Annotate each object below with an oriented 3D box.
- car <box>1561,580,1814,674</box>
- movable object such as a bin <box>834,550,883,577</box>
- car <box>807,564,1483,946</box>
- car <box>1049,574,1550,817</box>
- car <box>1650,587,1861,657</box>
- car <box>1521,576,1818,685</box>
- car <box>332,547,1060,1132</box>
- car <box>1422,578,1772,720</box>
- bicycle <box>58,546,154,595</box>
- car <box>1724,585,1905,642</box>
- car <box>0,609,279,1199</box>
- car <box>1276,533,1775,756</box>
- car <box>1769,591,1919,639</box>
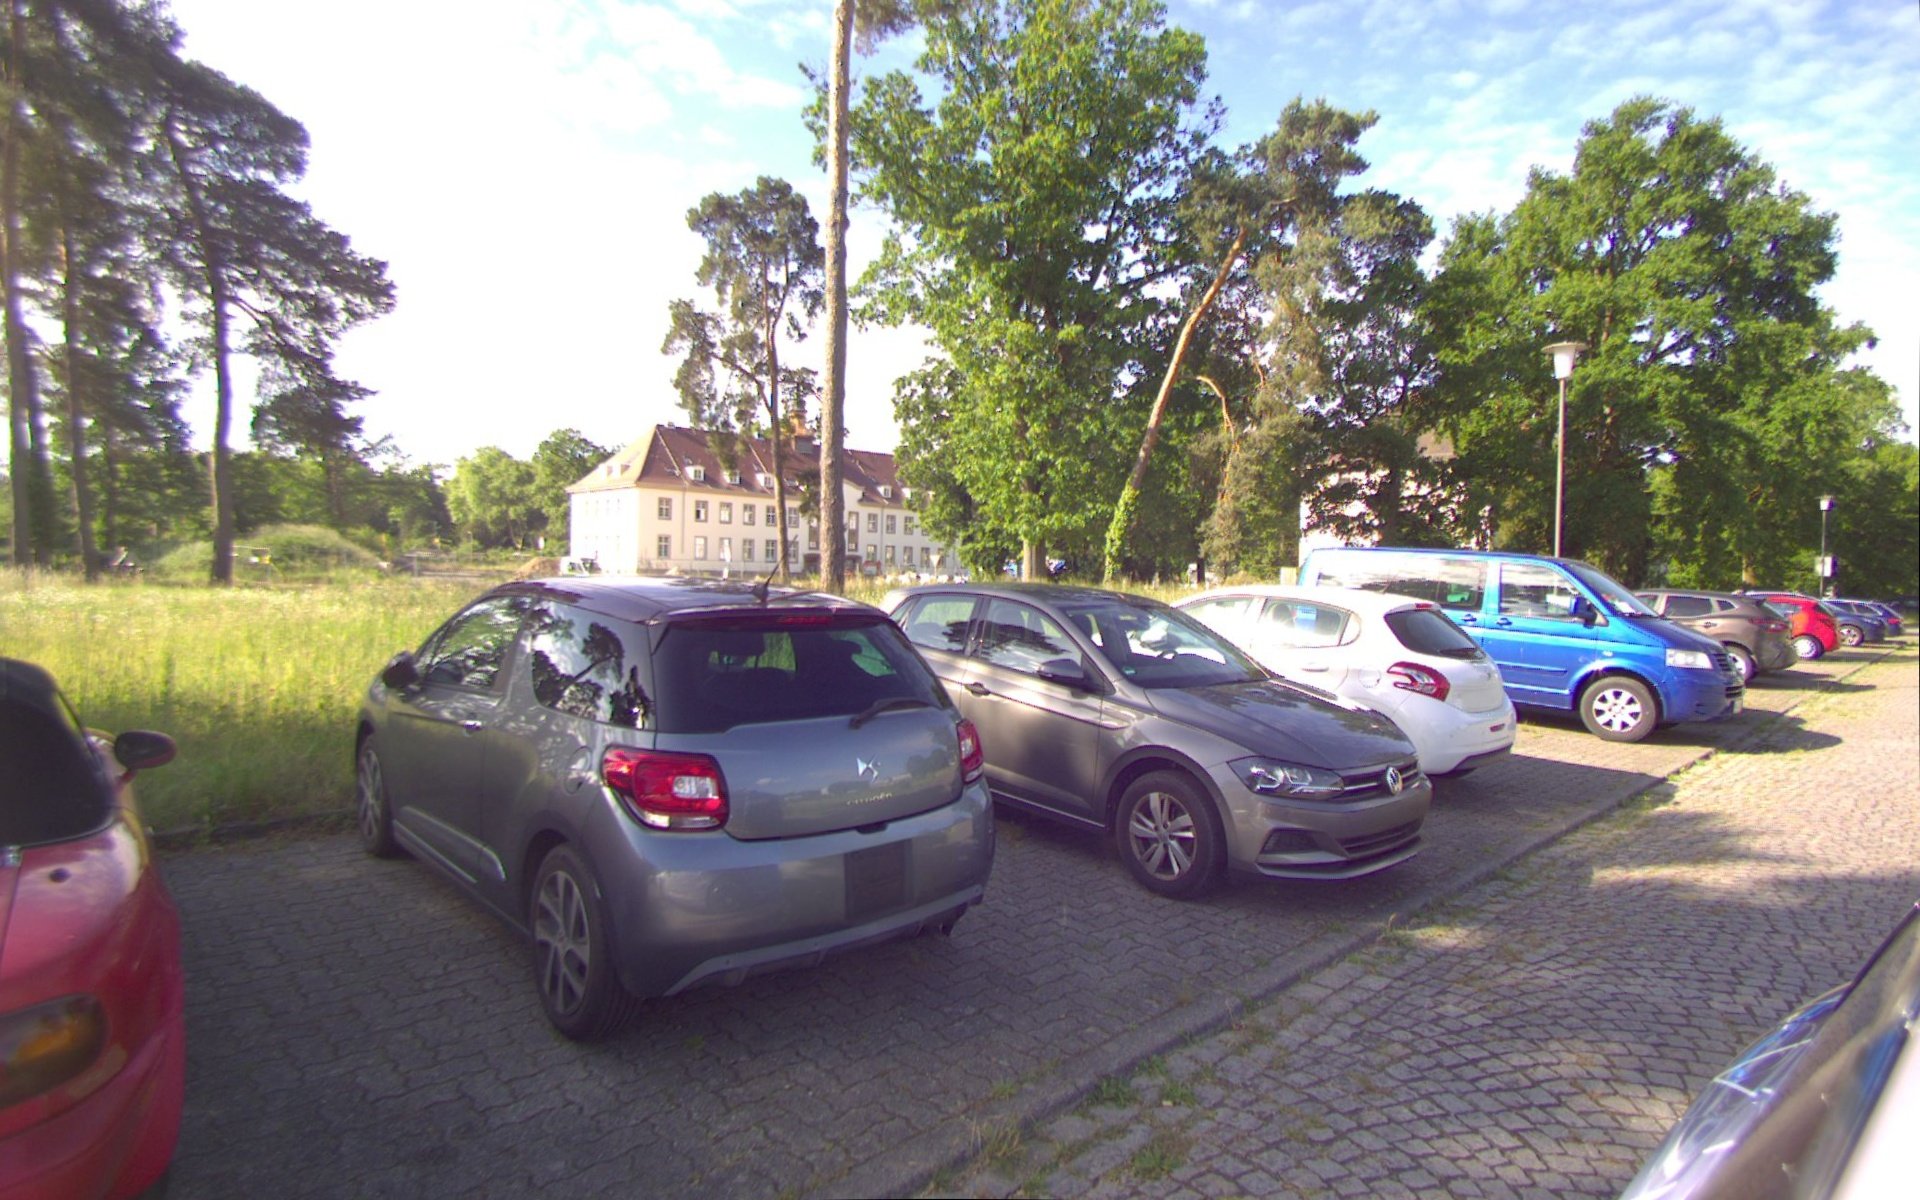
[{"bbox_3d":[14.501,0.455,20.321,1.674,1.557,3.831,0,3,-43],"label":"car"},{"bbox_3d":[-11.331,-4.055,113.412,4.978,2.937,2.180,0,2,-37],"label":"movable object such as a bin"},{"bbox_3d":[0.847,0.597,6.204,1.727,1.468,3.788,0,3,-42],"label":"car"},{"bbox_3d":[2.656,0.589,8.510,1.607,1.510,3.650,0,2,-43],"label":"car"},{"bbox_3d":[19.836,0.489,25.360,1.515,1.514,3.991,0,2,-44],"label":"car"},{"bbox_3d":[12.672,0.456,18.257,1.757,1.631,4.110,0,2,-45],"label":"car"},{"bbox_3d":[-1.492,0.576,4.619,1.639,1.472,3.668,0,4,-43],"label":"car"},{"bbox_3d":[8.517,0.546,13.737,3.723,1.484,1.584,5,3,45],"label":"car"},{"bbox_3d":[-37.004,-1.296,43.899,0.951,2.038,3.082,2,4,43],"label":"bicycle"},{"bbox_3d":[27.190,0.385,32.307,1.624,1.618,4.267,0,2,-44],"label":"car"},{"bbox_3d":[-2.953,0.729,2.580,1.510,1.258,3.465,0,2,-43],"label":"car"},{"bbox_3d":[6.498,0.311,12.117,1.966,2.038,4.762,0,4,-43],"label":"car"},{"bbox_3d":[30.782,0.491,35.269,1.717,1.484,3.805,0,2,-42],"label":"car"}]
